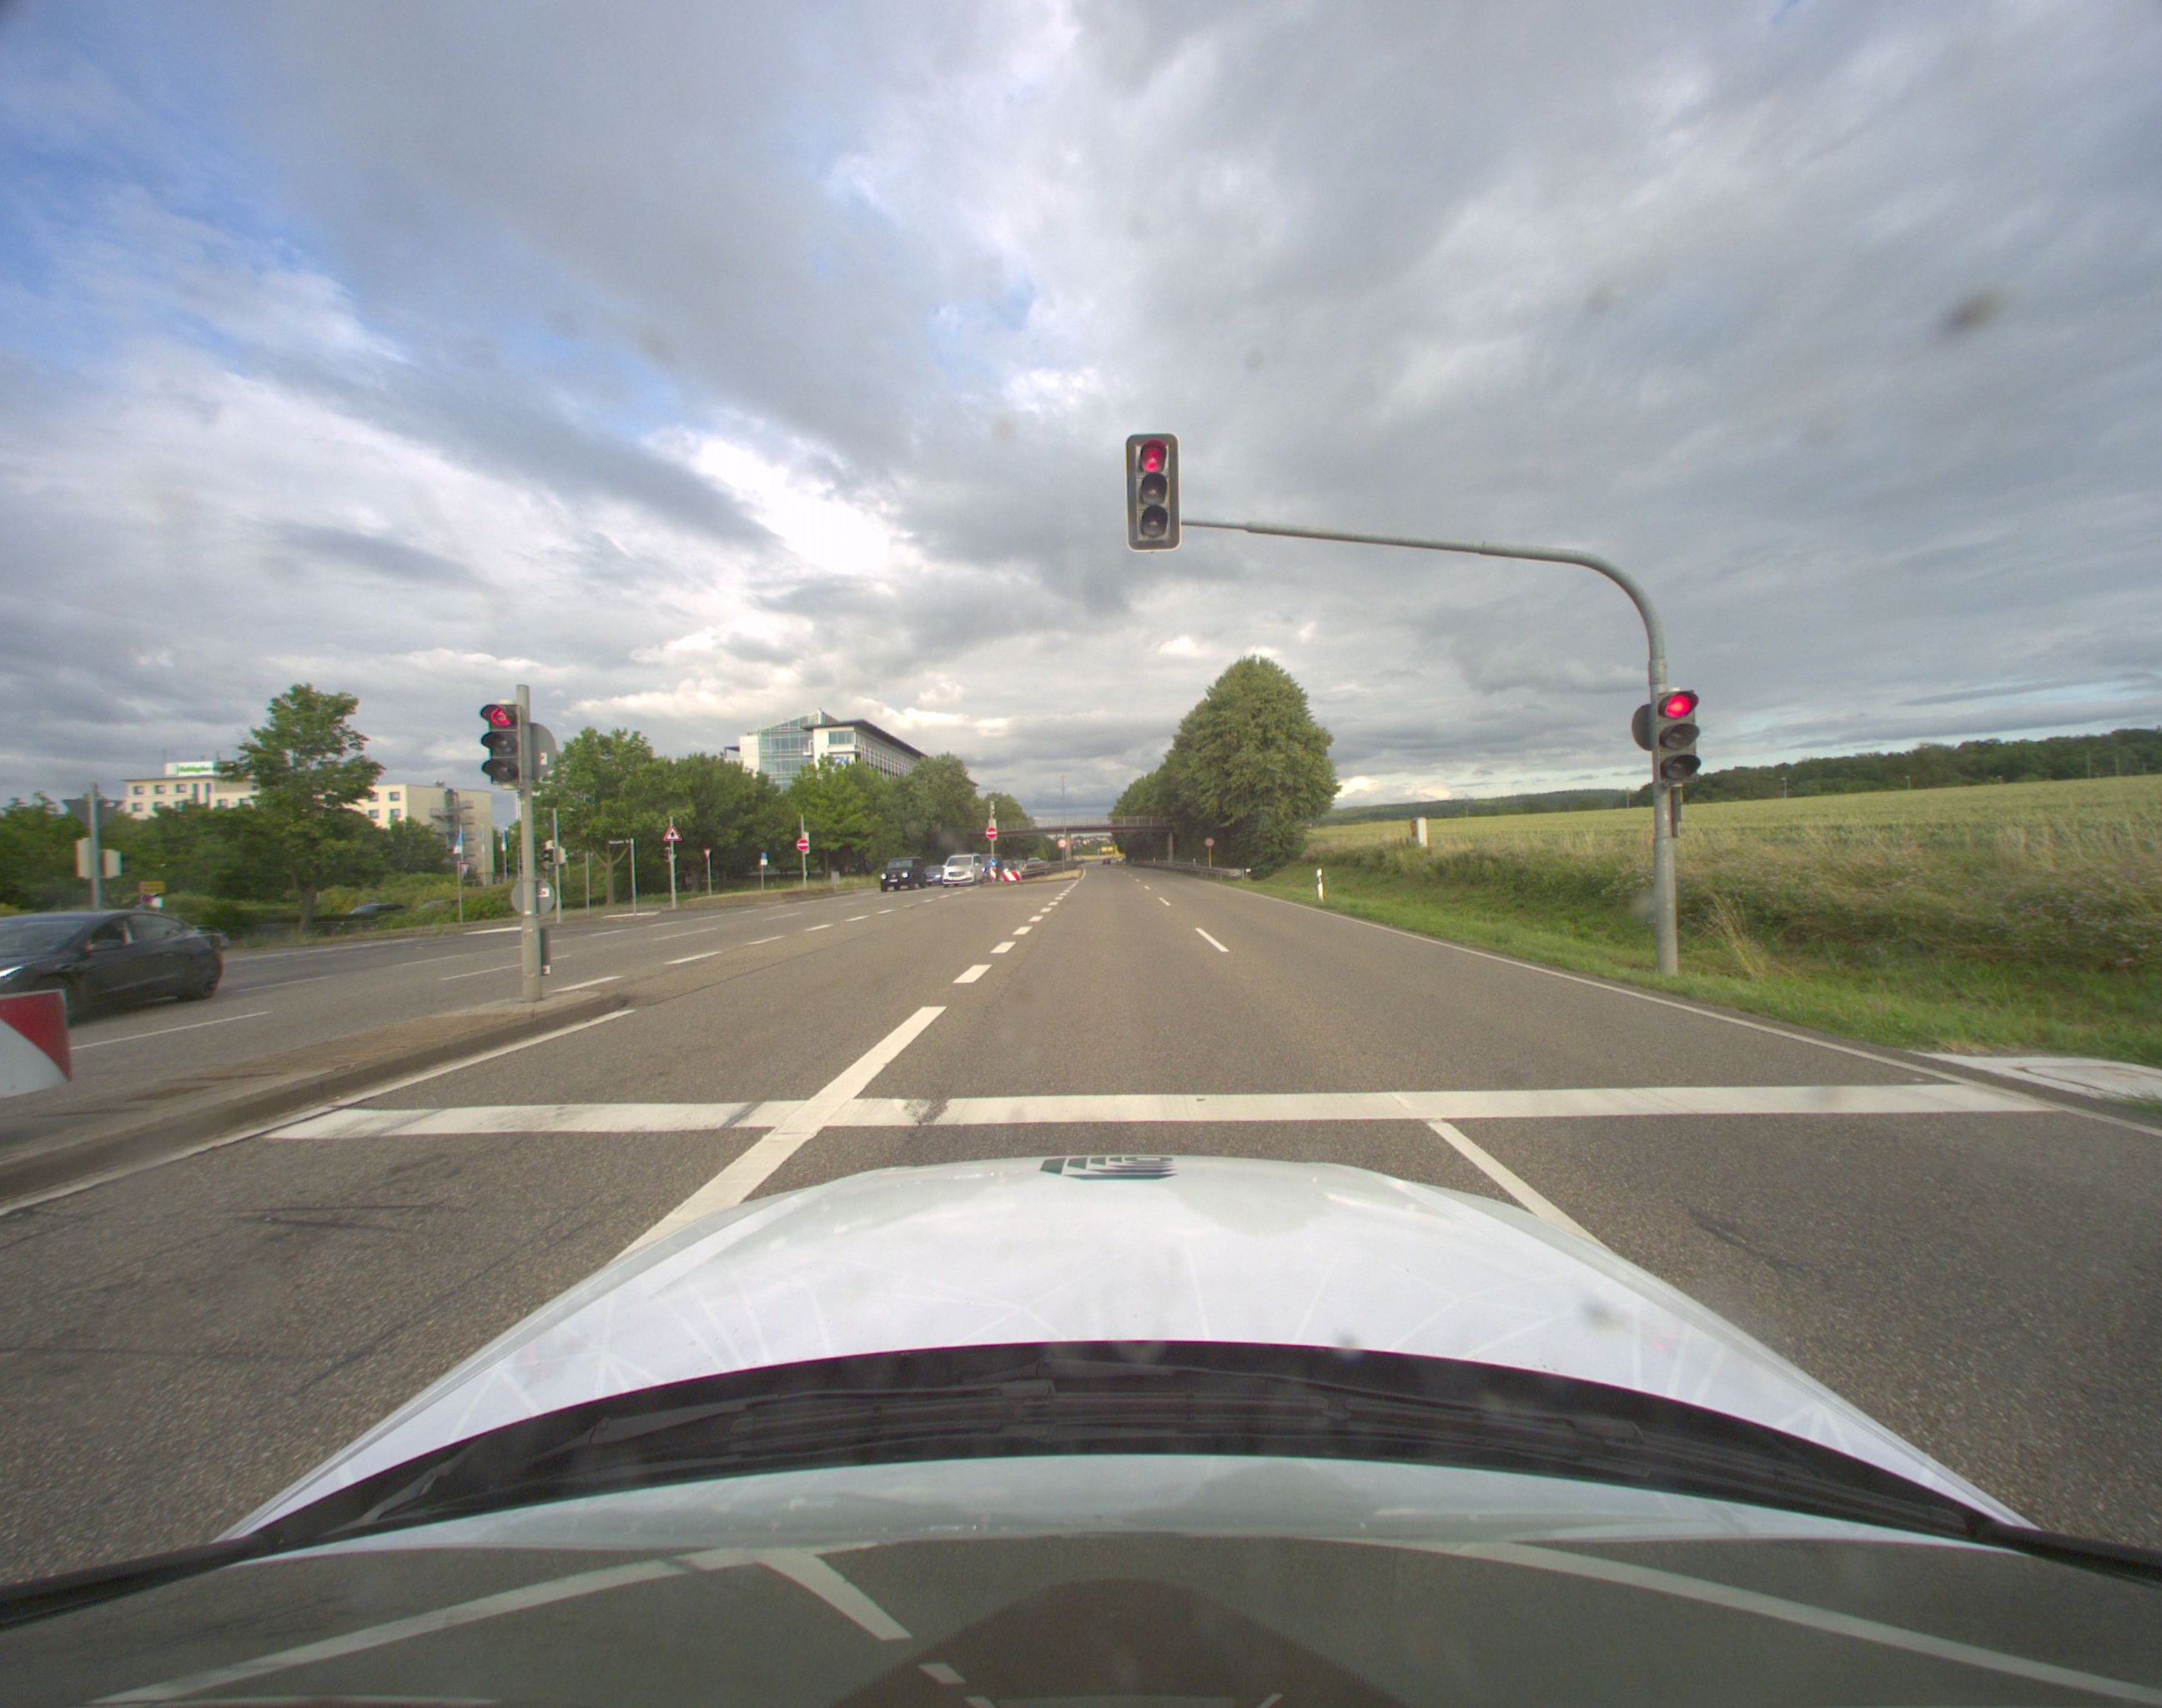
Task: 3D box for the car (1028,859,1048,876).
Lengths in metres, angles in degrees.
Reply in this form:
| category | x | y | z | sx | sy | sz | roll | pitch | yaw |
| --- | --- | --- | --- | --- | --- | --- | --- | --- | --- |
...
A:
| category | x | y | z | sx | sy | sz | roll | pitch | yaw |
| --- | --- | --- | --- | --- | --- | --- | --- | --- | --- |
| car | -5.224 | 1.622 | 99.883 | 2.076 | 2.014 | 5.216 | 0 | -1 | 1 |

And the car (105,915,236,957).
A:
| category | x | y | z | sx | sy | sz | roll | pitch | yaw |
| --- | --- | --- | --- | --- | --- | --- | --- | --- | --- |
| car | -40.331 | 3.625 | 36.131 | 3.731 | 1.342 | 1.584 | -5 | 0 | -4 |

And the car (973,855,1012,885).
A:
| category | x | y | z | sx | sy | sz | roll | pitch | yaw |
| --- | --- | --- | --- | --- | --- | --- | --- | --- | --- |
| car | -6.181 | 1.076 | 57.383 | 2.076 | 2.014 | 5.216 | 0 | -1 | 1 |

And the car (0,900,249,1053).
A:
| category | x | y | z | sx | sy | sz | roll | pitch | yaw |
| --- | --- | --- | --- | --- | --- | --- | --- | --- | --- |
| car | -13.231 | 1.426 | 10.428 | 1.922 | 1.457 | 4.343 | 0 | -1 | -21 |

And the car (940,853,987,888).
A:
| category | x | y | z | sx | sy | sz | roll | pitch | yaw |
| --- | --- | --- | --- | --- | --- | --- | --- | --- | --- |
| car | -7.098 | 0.967 | 49.664 | 2.076 | 2.014 | 5.216 | 0 | -1 | 1 |

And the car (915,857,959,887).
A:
| category | x | y | z | sx | sy | sz | roll | pitch | yaw |
| --- | --- | --- | --- | --- | --- | --- | --- | --- | --- |
| car | -10.022 | 1.255 | 57.126 | 2.076 | 2.014 | 5.216 | 0 | -1 | 1 |

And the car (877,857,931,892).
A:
| category | x | y | z | sx | sy | sz | roll | pitch | yaw |
| --- | --- | --- | --- | --- | --- | --- | --- | --- | --- |
| car | -10.719 | 1.190 | 49.638 | 2.076 | 2.014 | 5.216 | 0 | -1 | 1 |

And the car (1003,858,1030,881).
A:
| category | x | y | z | sx | sy | sz | roll | pitch | yaw |
| --- | --- | --- | --- | --- | --- | --- | --- | --- | --- |
| car | -5.995 | 1.409 | 75.933 | 2.076 | 2.014 | 5.216 | 0 | -1 | 1 |

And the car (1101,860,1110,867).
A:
| category | x | y | z | sx | sy | sz | roll | pitch | yaw |
| --- | --- | --- | --- | --- | --- | --- | --- | --- | --- |
| car | 5.843 | 2.167 | 192.246 | 1.874 | 1.552 | 3.998 | 0 | -1 | -1 |
